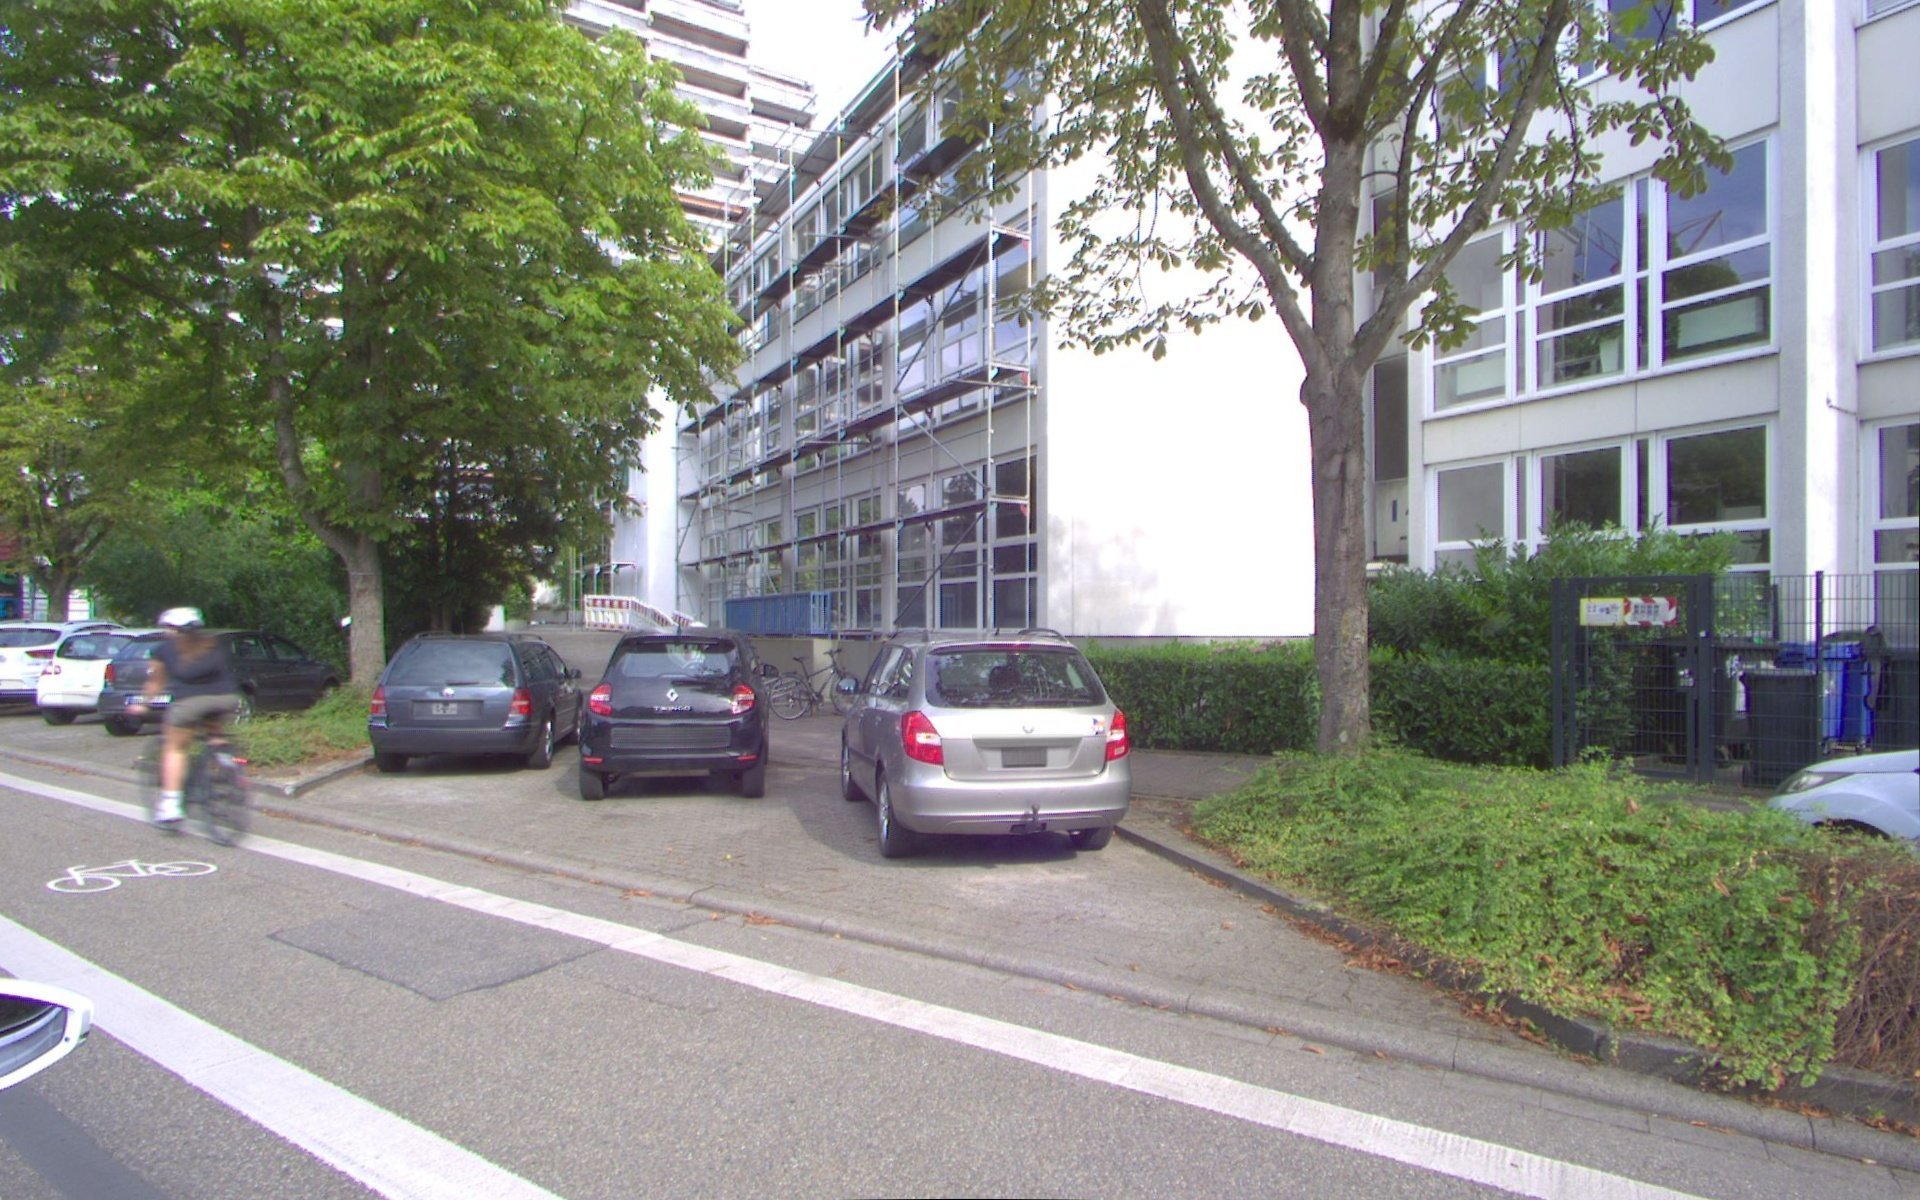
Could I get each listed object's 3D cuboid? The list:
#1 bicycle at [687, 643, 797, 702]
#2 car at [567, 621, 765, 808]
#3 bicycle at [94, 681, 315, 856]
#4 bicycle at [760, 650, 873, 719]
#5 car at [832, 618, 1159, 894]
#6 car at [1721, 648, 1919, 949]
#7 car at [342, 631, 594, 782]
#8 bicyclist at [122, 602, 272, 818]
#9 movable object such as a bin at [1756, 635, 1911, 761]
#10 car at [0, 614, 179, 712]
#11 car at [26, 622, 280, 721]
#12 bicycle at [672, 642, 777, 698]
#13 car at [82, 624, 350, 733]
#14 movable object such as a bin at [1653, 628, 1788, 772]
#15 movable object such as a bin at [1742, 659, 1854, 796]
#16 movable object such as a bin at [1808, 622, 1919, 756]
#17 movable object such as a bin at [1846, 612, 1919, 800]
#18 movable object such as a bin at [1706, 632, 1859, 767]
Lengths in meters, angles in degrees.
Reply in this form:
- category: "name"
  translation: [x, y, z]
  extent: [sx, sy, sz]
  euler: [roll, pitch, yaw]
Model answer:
- category: "bicycle"
  translation: [-4.106, 1.352, 18.955]
  extent: [1.949, 1.057, 0.591]
  euler: [1, -1, -30]
- category: "car"
  translation: [-2.810, 1.011, 10.198]
  extent: [1.566, 1.557, 3.416]
  euler: [1, -1, -10]
- category: "bicycle"
  translation: [-5.527, 1.159, 7.290]
  extent: [1.949, 1.057, 0.592]
  euler: [-1, -1, 31]
- category: "bicycle"
  translation: [-2.368, 1.381, 16.601]
  extent: [1.813, 1.057, 0.451]
  euler: [0, 0, -29]
- category: "car"
  translation: [-0.016, 0.957, 7.823]
  extent: [1.566, 1.557, 4.049]
  euler: [1, -2, -13]
- category: "car"
  translation: [5.571, 0.941, 4.034]
  extent: [1.604, 1.411, 3.858]
  euler: [1, -2, -13]
- category: "car"
  translation: [-5.515, 1.085, 11.794]
  extent: [1.783, 1.433, 4.166]
  euler: [0, -2, -14]
- category: "bicyclist"
  translation: [-5.587, 0.768, 7.337]
  extent: [0.862, 1.478, 0.592]
  euler: [0, -1, 31]
- category: "movable object such as a bin"
  translation: [10.387, 1.116, 11.915]
  extent: [1.160, 1.388, 1.171]
  euler: [1, -1, -36]
- category: "car"
  translation: [-16.286, 1.101, 18.377]
  extent: [1.651, 1.623, 3.644]
  euler: [0, -2, -12]
- category: "car"
  translation: [-13.429, 1.134, 16.966]
  extent: [1.650, 1.493, 3.647]
  euler: [0, -2, -6]
- category: "bicycle"
  translation: [-4.627, 1.354, 19.690]
  extent: [1.944, 1.057, 0.593]
  euler: [1, -1, -20]
- category: "car"
  translation: [-11.090, 1.106, 15.265]
  extent: [1.650, 1.438, 3.647]
  euler: [0, -2, -6]
- category: "movable object such as a bin"
  translation: [8.081, 1.019, 10.648]
  extent: [1.012, 1.425, 0.906]
  euler: [1, -1, -36]
- category: "movable object such as a bin"
  translation: [7.465, 1.106, 8.956]
  extent: [0.734, 1.119, 0.781]
  euler: [0, -1, 38]
- category: "movable object such as a bin"
  translation: [11.570, 1.073, 12.576]
  extent: [1.160, 1.588, 1.171]
  euler: [1, -1, -36]
- category: "movable object such as a bin"
  translation: [8.602, 0.887, 8.571]
  extent: [1.397, 1.549, 1.322]
  euler: [-1, -1, 37]
- category: "movable object such as a bin"
  translation: [9.242, 1.072, 11.261]
  extent: [1.050, 1.409, 1.111]
  euler: [1, -1, -36]
